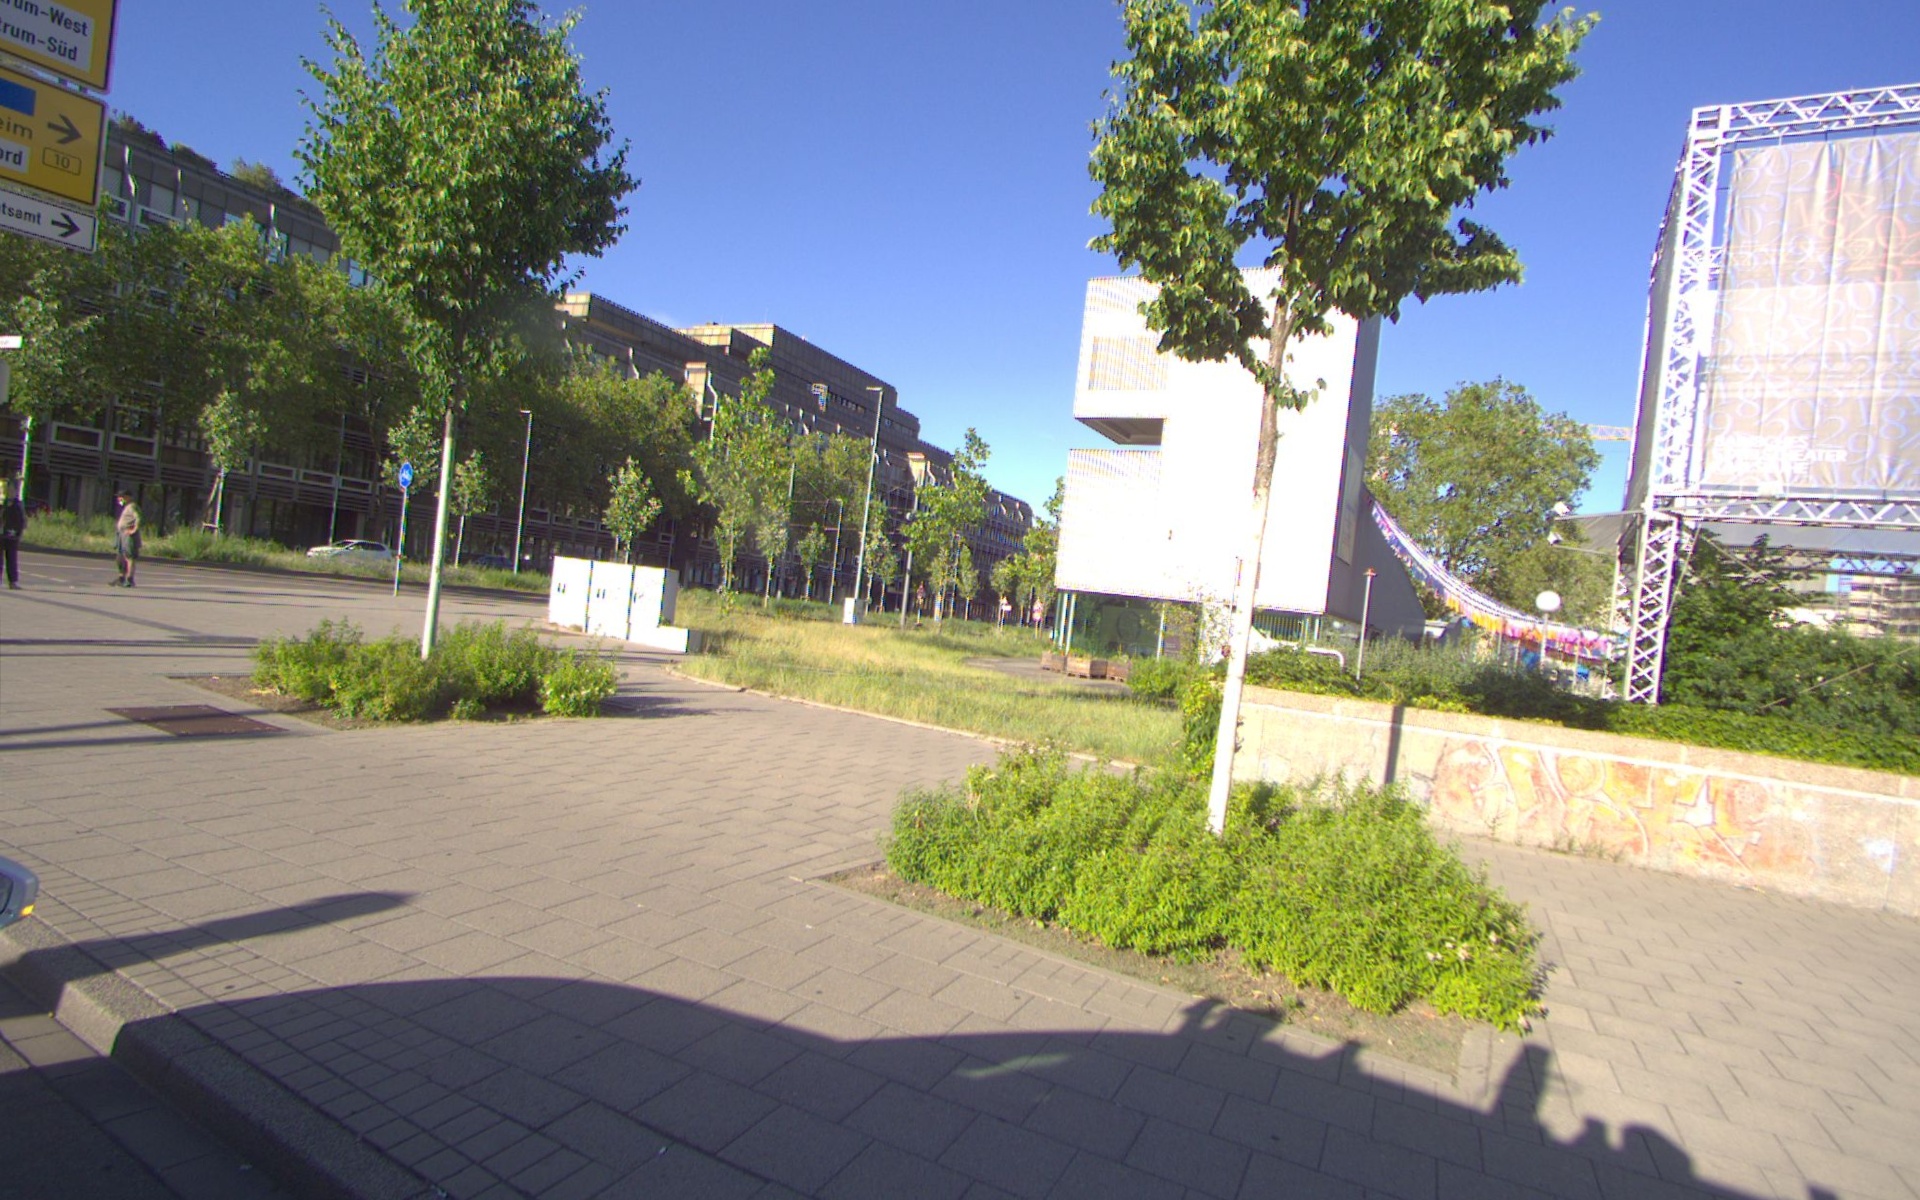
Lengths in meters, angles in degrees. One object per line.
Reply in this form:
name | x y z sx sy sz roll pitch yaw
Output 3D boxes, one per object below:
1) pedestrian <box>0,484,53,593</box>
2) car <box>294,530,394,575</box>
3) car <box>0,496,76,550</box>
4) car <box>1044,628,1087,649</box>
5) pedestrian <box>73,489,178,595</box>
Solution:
pedestrian | -14.042 -0.919 14.780 0.633 1.510 0.789 6 -1 31
car | -30.960 -2.369 50.648 1.630 1.603 3.912 7 -2 25
car | -33.447 -2.801 34.803 1.629 1.604 3.896 6 -1 24
car | 8.825 3.235 83.875 1.820 1.437 4.956 7 -1 26
pedestrian | -14.876 -1.016 17.948 0.946 1.684 0.882 7 -1 11
